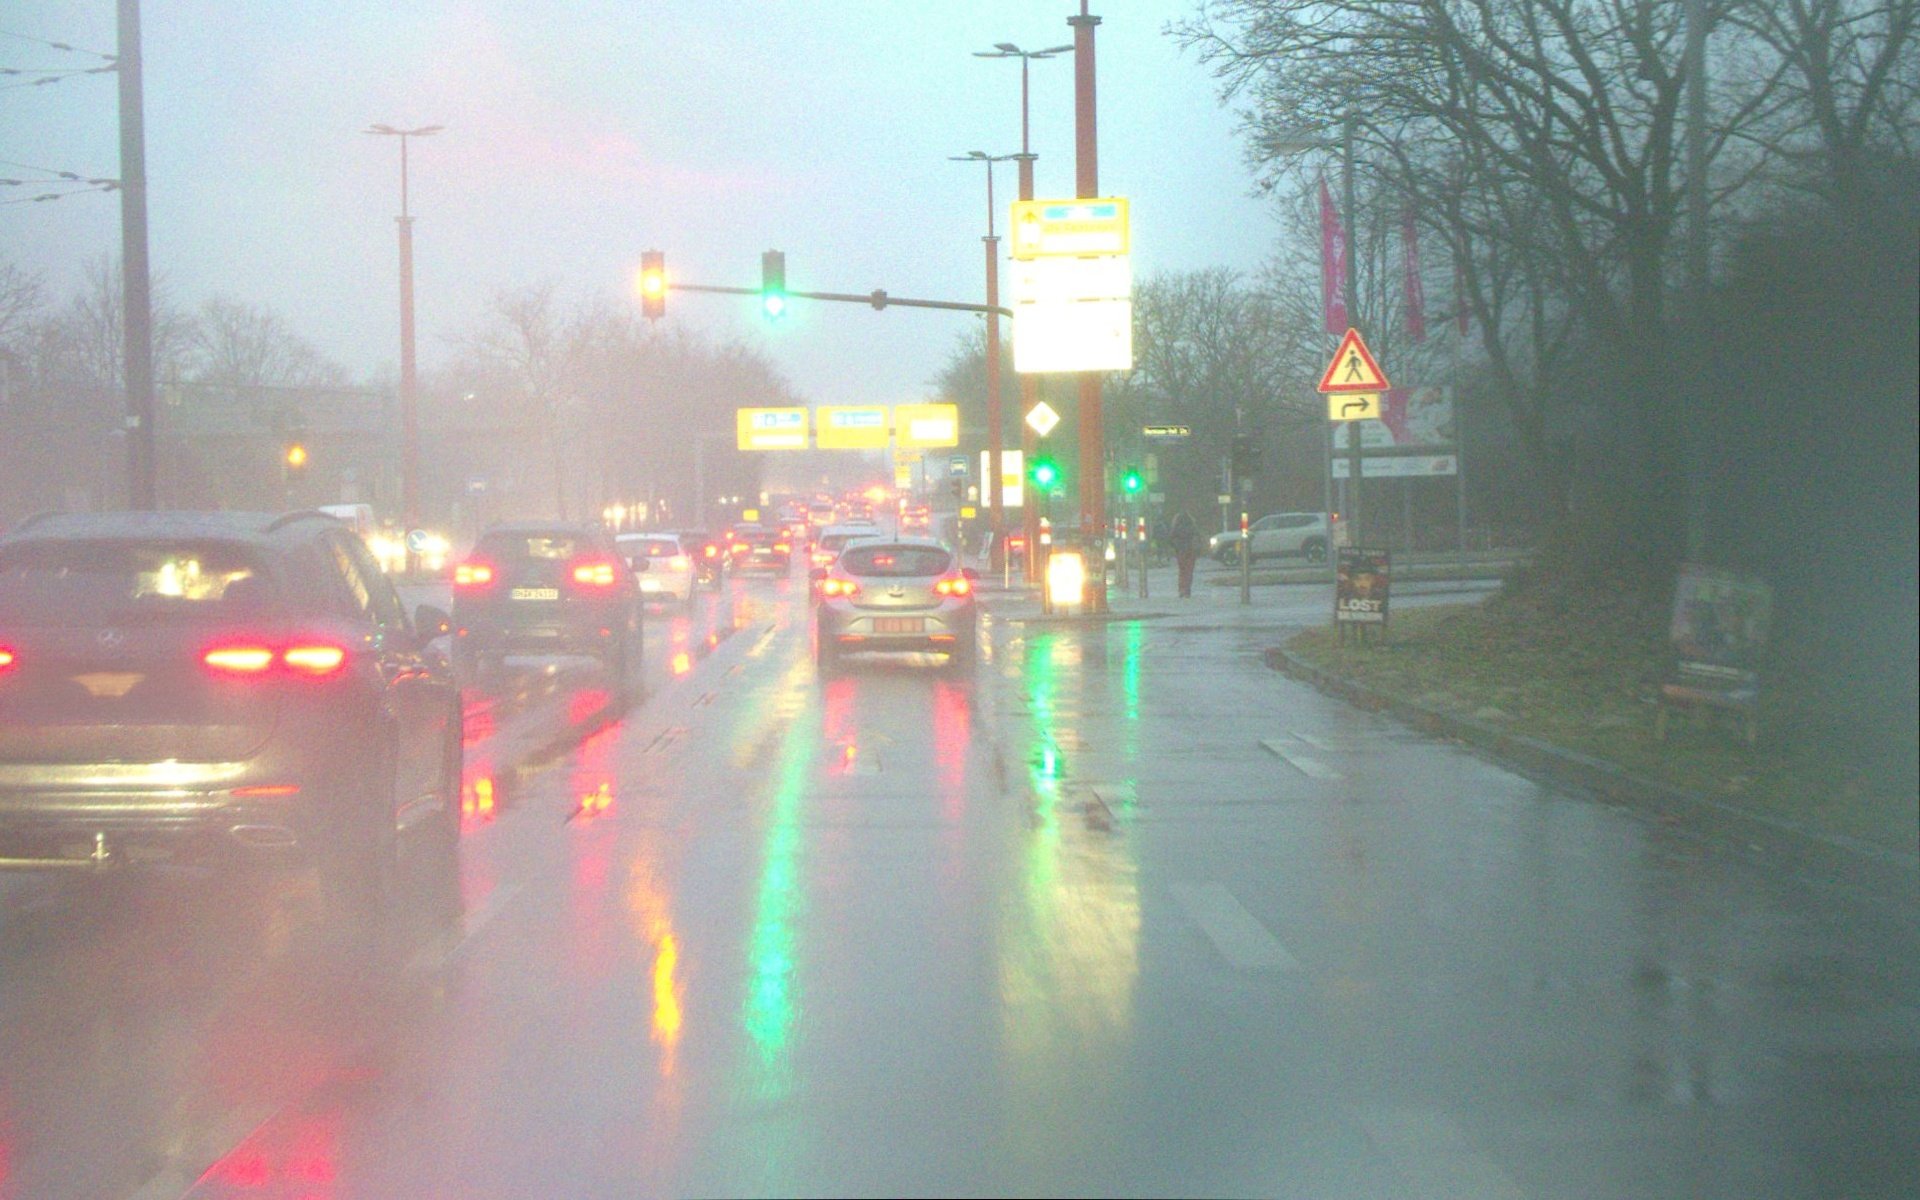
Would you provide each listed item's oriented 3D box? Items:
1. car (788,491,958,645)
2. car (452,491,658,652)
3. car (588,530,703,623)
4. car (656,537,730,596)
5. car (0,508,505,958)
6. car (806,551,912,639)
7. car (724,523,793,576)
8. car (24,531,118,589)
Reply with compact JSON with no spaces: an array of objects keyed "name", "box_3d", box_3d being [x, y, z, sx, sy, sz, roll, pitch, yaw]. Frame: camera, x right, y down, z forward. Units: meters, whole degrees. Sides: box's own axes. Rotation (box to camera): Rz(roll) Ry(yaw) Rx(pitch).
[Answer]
[{"name":"car","box_3d":[-0.993,-0.394,39.808,1.822,1.642,4.467,-1,1,-1]},{"name":"car","box_3d":[-4.382,-0.337,37.720,1.822,1.642,4.000,-1,1,-1]},{"name":"car","box_3d":[-5.823,-0.461,63.994,1.822,1.642,4.000,-1,1,-1]},{"name":"car","box_3d":[-6.308,-0.811,81.506,1.505,1.334,4.000,-1,1,-1]},{"name":"car","box_3d":[-3.158,0.448,14.931,1.822,1.642,4.467,-1,1,-1]},{"name":"car","box_3d":[-1.961,-0.120,67.289,1.993,1.656,4.000,0,1,-1]},{"name":"car","box_3d":[-5.867,-1.479,100.413,1.822,1.499,4.000,-1,1,-1]},{"name":"car","box_3d":[-25.150,-1.152,97.375,1.769,1.548,3.948,-1,2,-3]}]
